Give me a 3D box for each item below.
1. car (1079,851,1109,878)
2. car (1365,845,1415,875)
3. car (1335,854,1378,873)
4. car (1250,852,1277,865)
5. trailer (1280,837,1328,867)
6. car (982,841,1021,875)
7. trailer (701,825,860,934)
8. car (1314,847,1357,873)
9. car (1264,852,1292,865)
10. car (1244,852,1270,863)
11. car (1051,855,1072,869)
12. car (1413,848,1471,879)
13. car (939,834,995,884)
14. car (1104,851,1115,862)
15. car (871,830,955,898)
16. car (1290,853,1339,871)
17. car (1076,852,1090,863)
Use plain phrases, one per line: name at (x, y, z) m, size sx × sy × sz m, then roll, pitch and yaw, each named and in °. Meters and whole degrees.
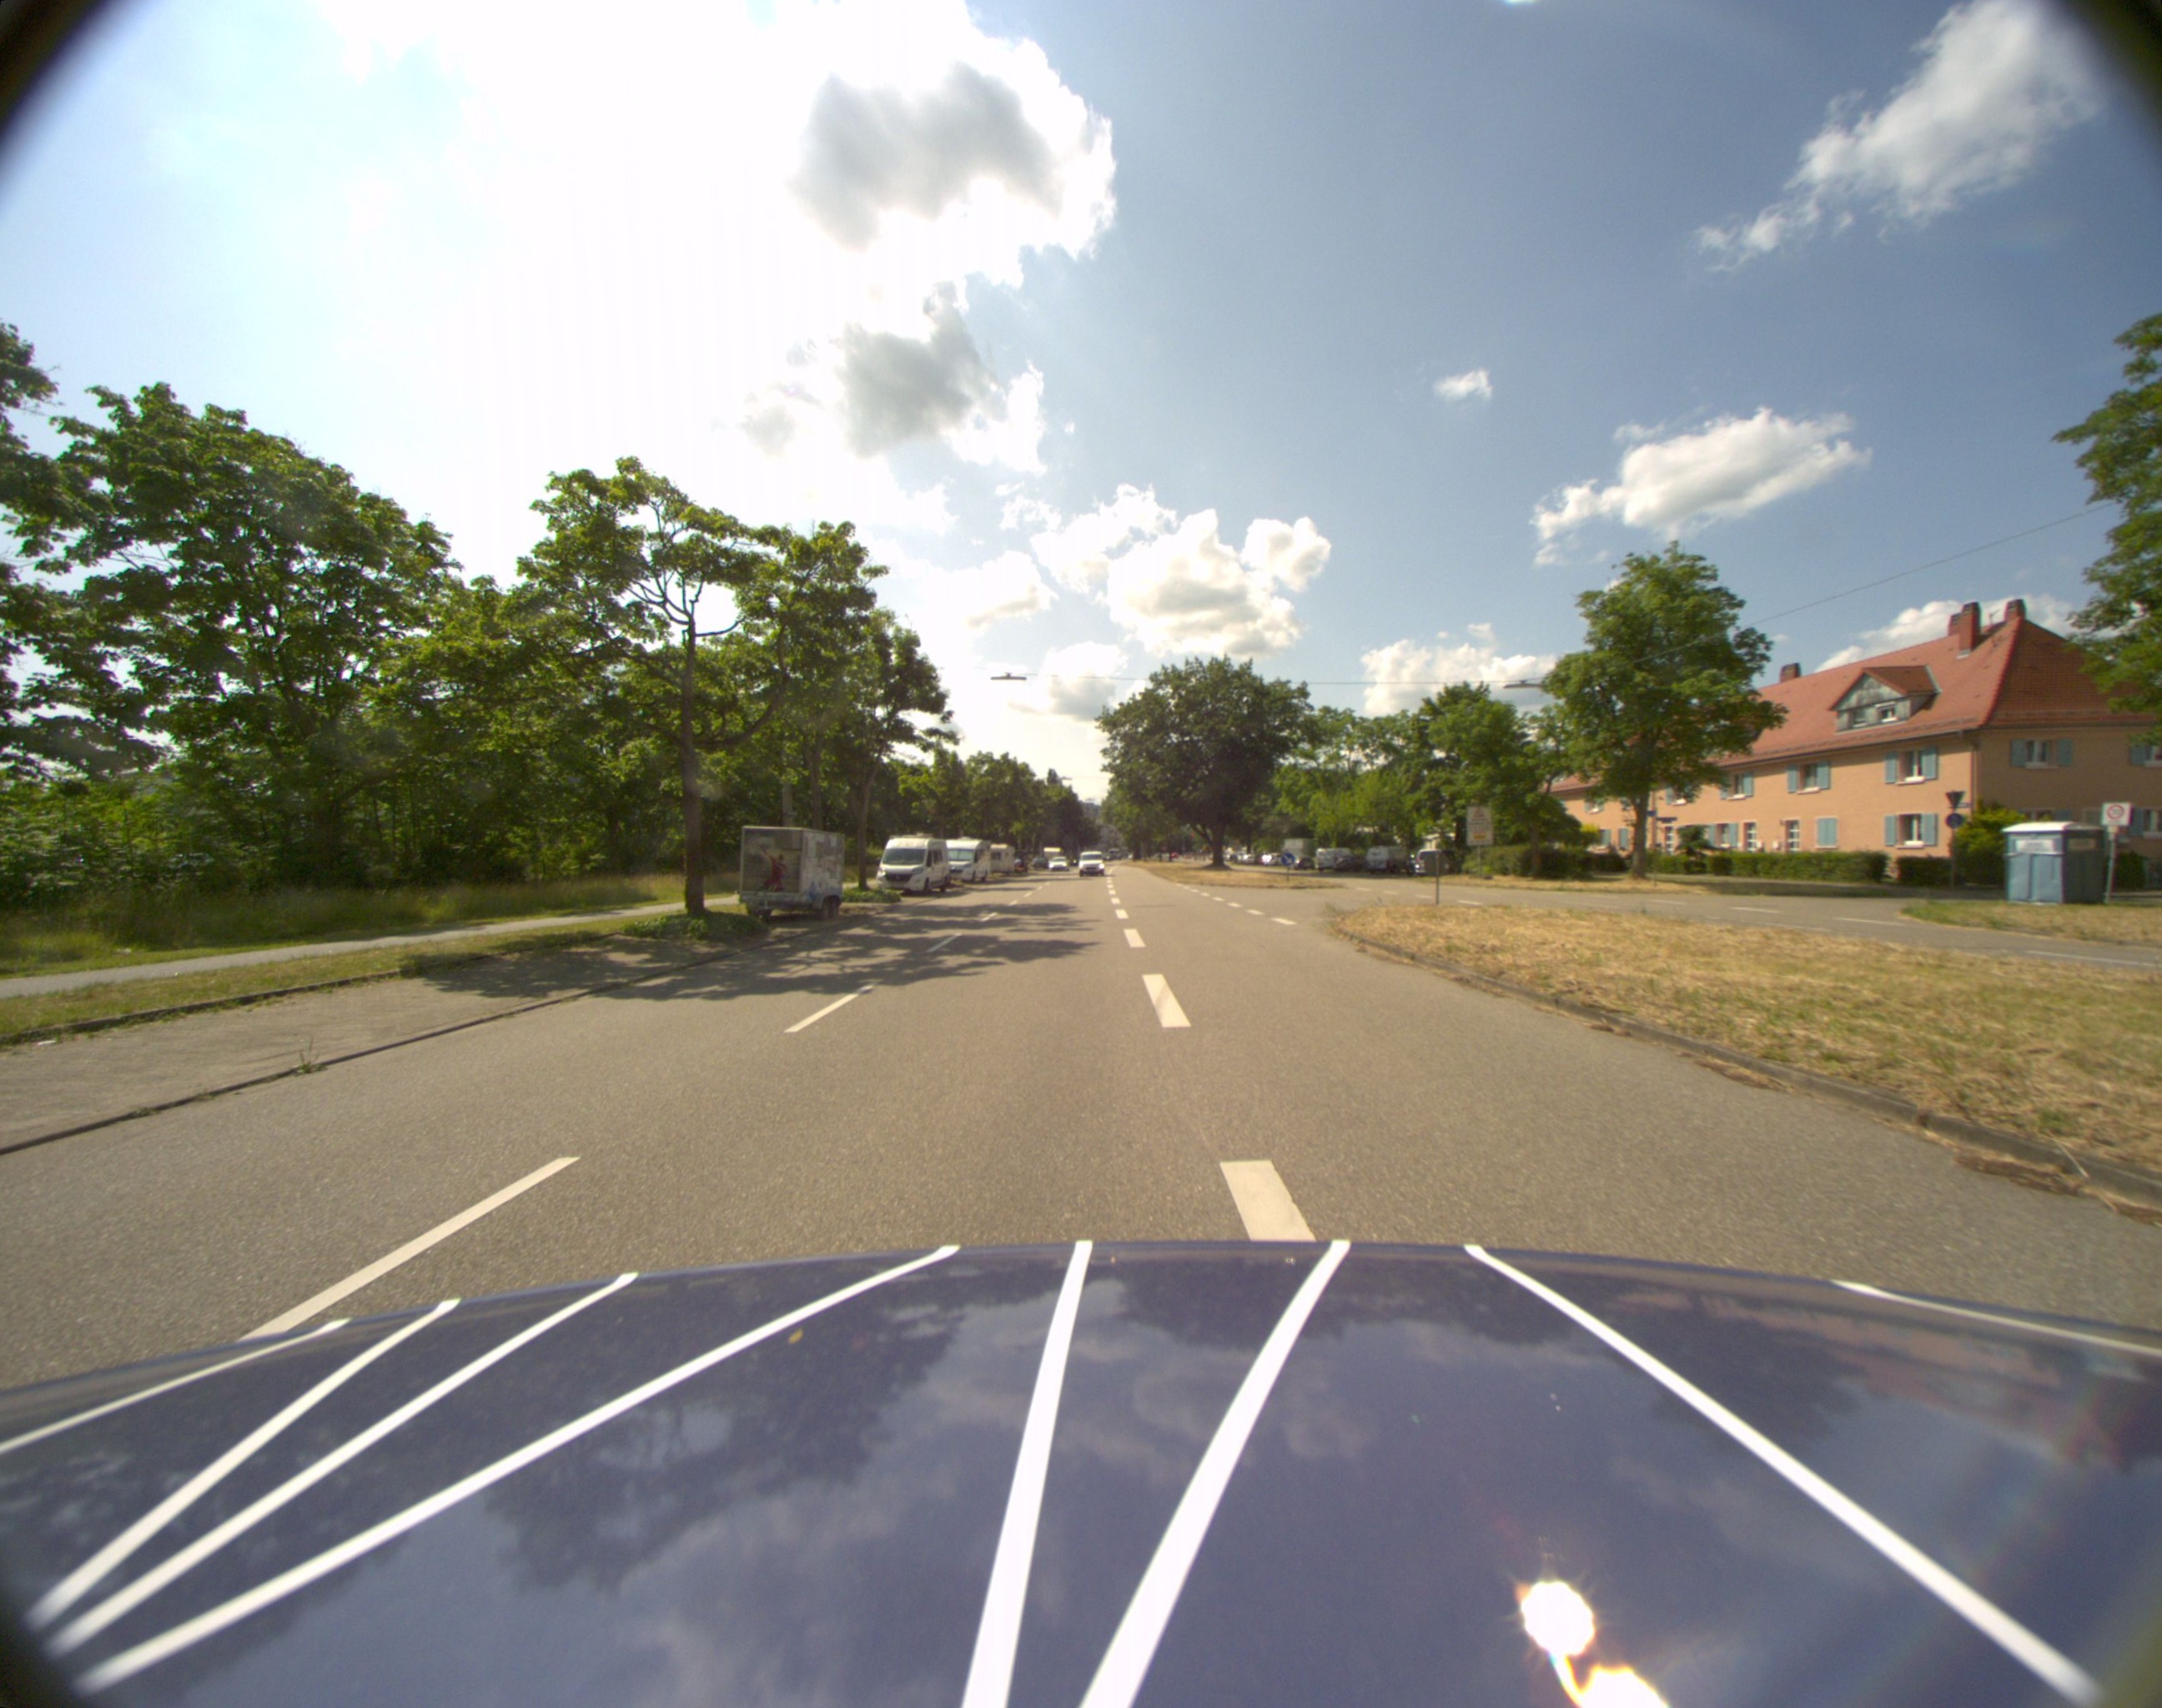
car at (0.972, 0.749, 54.319) m, size 1.935 × 1.774 × 4.717 m, roll -2°, pitch 0°, yaw 3°
car at (23.241, 0.434, 57.066) m, size 4.007 × 2.002 × 1.800 m, roll -3°, pitch 1°, yaw -41°
car at (22.881, 0.782, 62.980) m, size 4.007 × 1.390 × 1.569 m, roll -3°, pitch 1°, yaw -41°
car at (23.064, 0.532, 96.053) m, size 1.668 × 1.455 × 3.827 m, roll -1°, pitch 1°, yaw 43°
trailer at (24.347, -0.247, 82.898) m, size 2.820 × 3.090 × 5.765 m, roll -2°, pitch 0°, yaw 40°
car at (-6.274, 0.260, 60.866) m, size 2.262 × 2.526 × 6.767 m, roll 2°, pitch 1°, yaw 1°
trailer at (-7.542, 0.559, 19.700) m, size 1.998 × 2.352 × 4.782 m, roll 4°, pitch 1°, yaw 1°
car at (22.139, 0.507, 66.042) m, size 4.007 × 2.002 × 1.800 m, roll -3°, pitch 1°, yaw -44°
car at (24.250, 0.513, 93.603) m, size 1.668 × 1.455 × 3.827 m, roll -1°, pitch 1°, yaw 43°
car at (23.774, 0.490, 102.492) m, size 1.668 × 1.341 × 3.827 m, roll -1°, pitch 1°, yaw 43°
car at (-1.937, 0.760, 75.499) m, size 1.892 × 1.281 × 3.999 m, roll -2°, pitch 1°, yaw 1°
car at (22.665, 0.581, 47.638) m, size 4.008 × 1.849 × 1.800 m, roll -1°, pitch 0°, yaw -41°
car at (-6.943, 0.230, 47.083) m, size 2.262 × 2.787 × 6.767 m, roll 2°, pitch 1°, yaw 1°
car at (5.594, 0.447, 149.192) m, size 1.998 × 2.002 × 3.999 m, roll -2°, pitch 1°, yaw 1°
car at (-7.323, 0.370, 33.874) m, size 2.181 × 2.680 × 6.151 m, roll -2°, pitch 1°, yaw 1°
car at (21.785, 0.740, 70.951) m, size 3.996 × 1.501 × 1.800 m, roll -2°, pitch 1°, yaw 2°
car at (0.273, 0.466, 104.023) m, size 1.892 × 1.281 × 3.999 m, roll -2°, pitch 1°, yaw 1°
